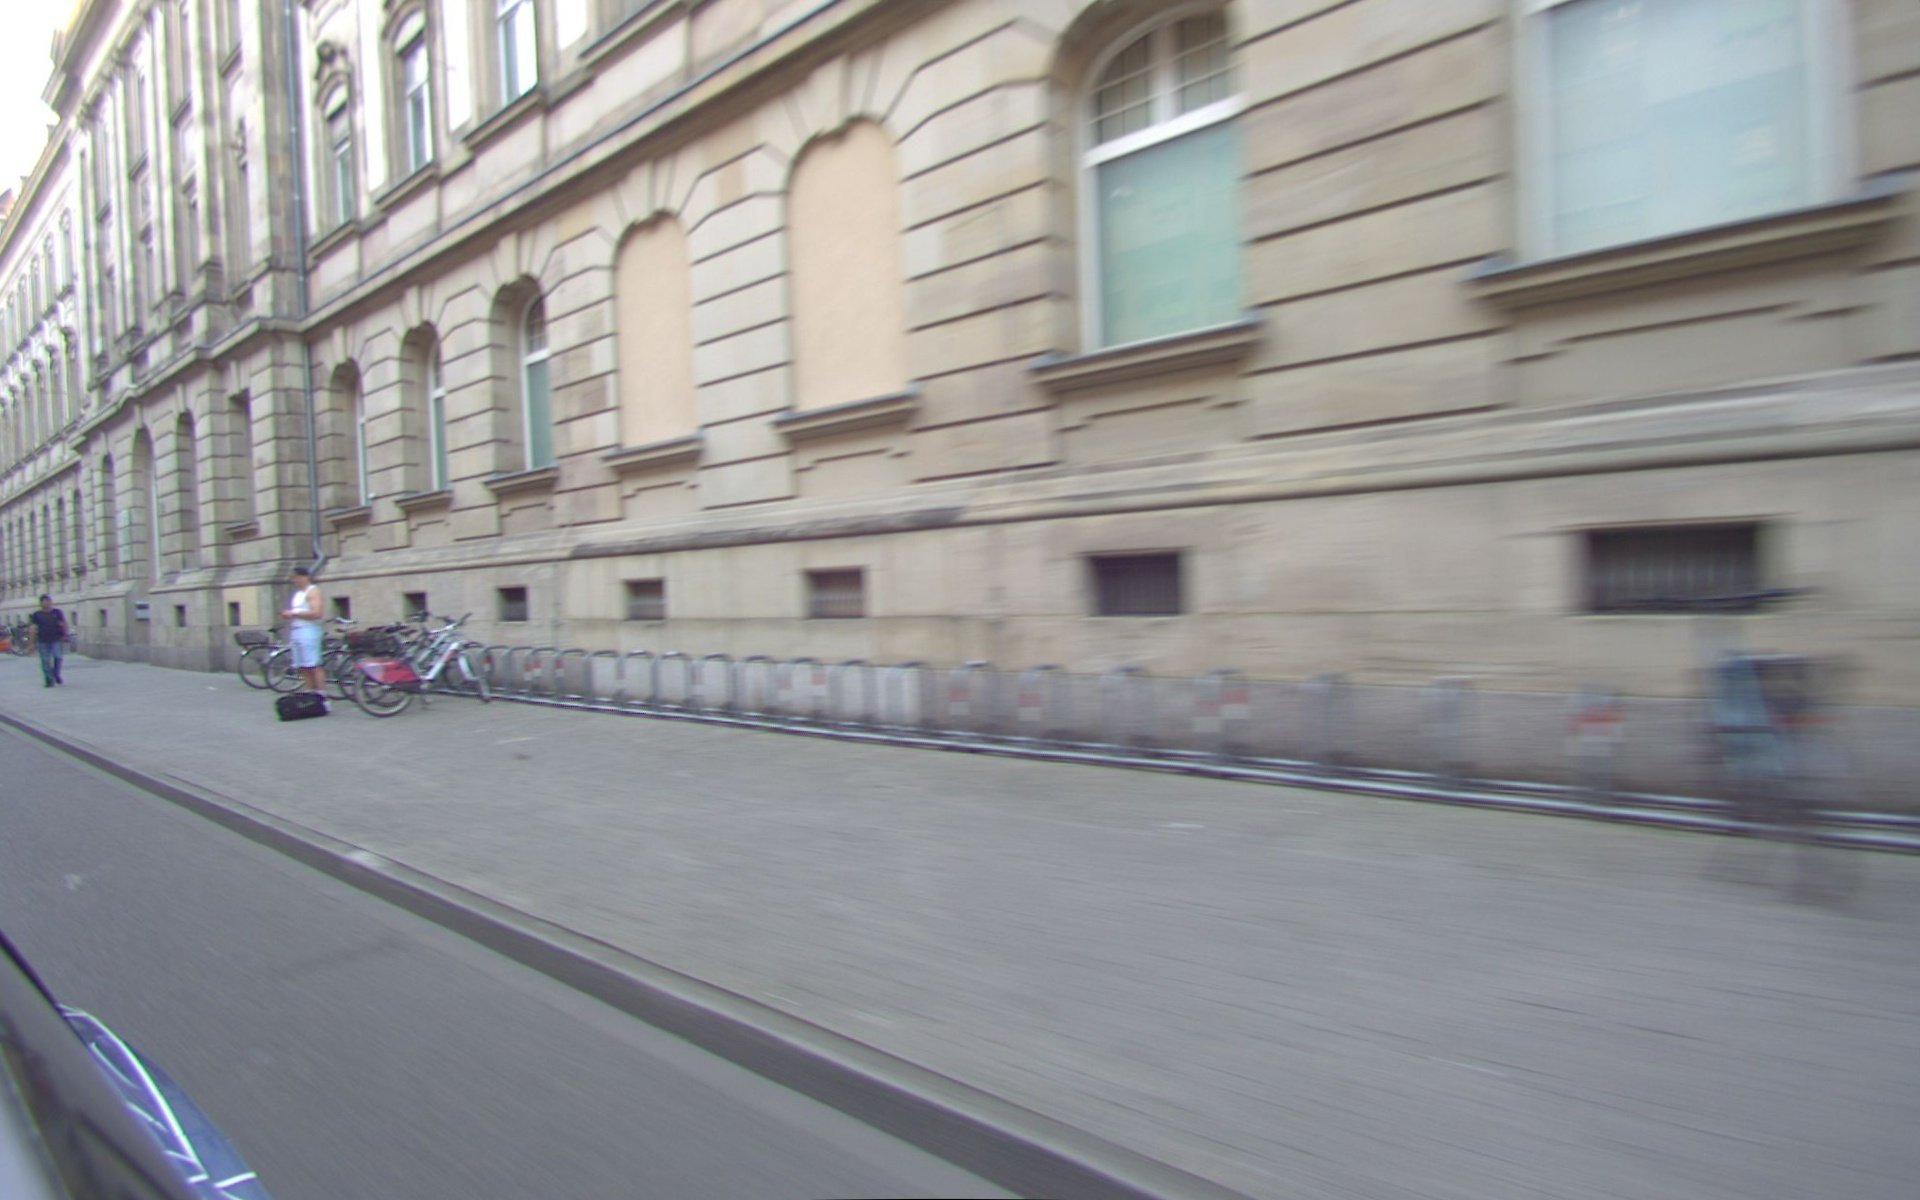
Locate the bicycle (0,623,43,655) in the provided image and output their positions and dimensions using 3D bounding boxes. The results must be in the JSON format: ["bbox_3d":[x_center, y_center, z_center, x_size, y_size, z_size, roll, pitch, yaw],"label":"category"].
[{"bbox_3d":[-36.481,1.512,38.725,0.728,1.086,1.922,-1,3,33],"label":"bicycle"}]

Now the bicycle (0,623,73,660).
[{"bbox_3d":[-31.830,1.402,34.740,0.728,1.086,1.922,-1,3,33],"label":"bicycle"}]

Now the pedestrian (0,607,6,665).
[{"bbox_3d":[-30.007,1.139,31.105,0.768,1.758,0.820,-2,2,41],"label":"pedestrian"}]

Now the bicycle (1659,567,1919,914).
[{"bbox_3d":[3.543,0.455,4.306,0.616,1.069,1.927,-2,4,25],"label":"bicycle"}]

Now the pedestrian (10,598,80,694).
[{"bbox_3d":[-17.688,0.870,19.563,0.969,1.763,0.801,-1,2,41],"label":"pedestrian"}]

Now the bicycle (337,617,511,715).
[{"bbox_3d":[-7.011,0.826,13.341,0.618,1.069,1.921,-1,2,34],"label":"bicycle"}]

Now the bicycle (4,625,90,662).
[{"bbox_3d":[-29.583,1.404,32.821,0.720,1.053,1.918,-2,1,36],"label":"bicycle"}]

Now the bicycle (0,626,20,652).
[{"bbox_3d":[-41.693,1.733,43.301,0.725,1.086,2.011,-2,2,21],"label":"bicycle"}]

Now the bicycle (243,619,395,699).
[{"bbox_3d":[-10.182,0.907,16.141,0.618,1.069,1.921,-1,2,34],"label":"bicycle"}]

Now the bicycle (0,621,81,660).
[{"bbox_3d":[-30.331,1.326,33.362,0.747,1.086,1.918,-1,3,39],"label":"bicycle"}]

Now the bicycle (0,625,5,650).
[{"bbox_3d":[-43.989,1.761,45.034,0.728,1.117,2.002,-1,3,34],"label":"bicycle"}]

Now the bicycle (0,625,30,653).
[{"bbox_3d":[-39.123,1.627,41.030,0.728,1.086,1.921,-1,3,34],"label":"bicycle"}]

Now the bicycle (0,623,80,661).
[{"bbox_3d":[-31.202,1.405,34.289,0.728,1.086,1.922,-1,3,33],"label":"bicycle"}]

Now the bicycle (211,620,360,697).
[{"bbox_3d":[-11.202,0.939,16.867,0.619,1.069,1.918,-1,2,39],"label":"bicycle"}]

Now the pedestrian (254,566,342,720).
[{"bbox_3d":[-8.342,0.529,12.759,0.753,1.865,0.583,-2,2,35],"label":"pedestrian"}]

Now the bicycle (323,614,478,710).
[{"bbox_3d":[-7.623,0.810,13.878,0.499,1.116,1.779,-1,2,34],"label":"bicycle"}]

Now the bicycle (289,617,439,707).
[{"bbox_3d":[-8.563,0.856,14.624,0.499,1.116,1.779,-1,2,34],"label":"bicycle"}]

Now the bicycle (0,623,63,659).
[{"bbox_3d":[-32.879,1.439,35.536,0.728,1.086,1.922,-1,3,33],"label":"bicycle"}]

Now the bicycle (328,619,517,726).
[{"bbox_3d":[-6.498,0.832,12.334,0.619,1.069,1.919,-1,3,38],"label":"bicycle"}]
